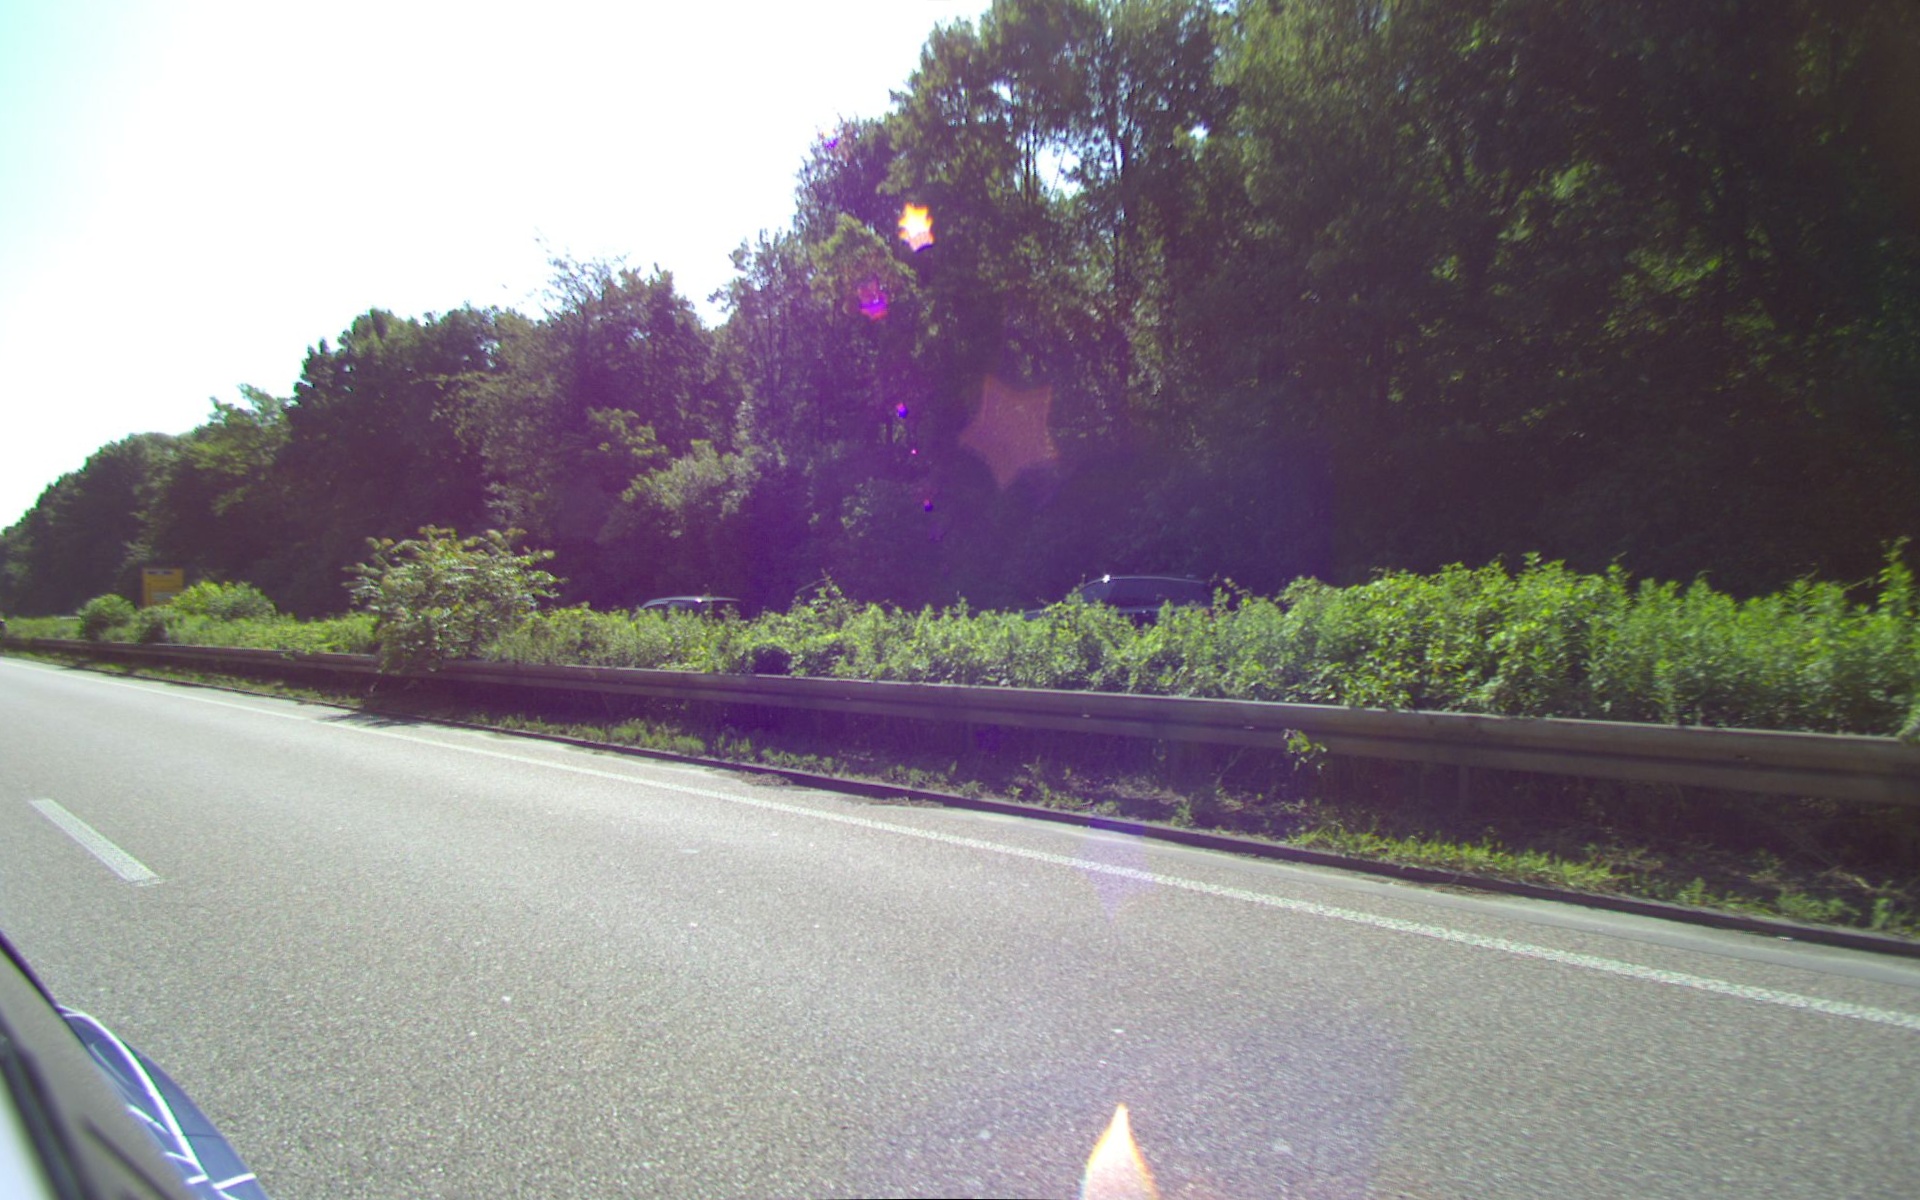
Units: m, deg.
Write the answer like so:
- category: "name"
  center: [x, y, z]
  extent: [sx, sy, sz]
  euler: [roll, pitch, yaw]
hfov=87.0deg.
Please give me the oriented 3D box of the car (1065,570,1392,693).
- category: "car"
  center: [4.079, 0.518, 15.940]
  extent: [4.710, 1.674, 1.675]
  euler: [-2, -3, 40]

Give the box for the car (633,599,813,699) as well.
- category: "car"
  center: [-4.411, 0.890, 18.631]
  extent: [3.508, 1.674, 1.434]
  euler: [-2, -3, 40]
